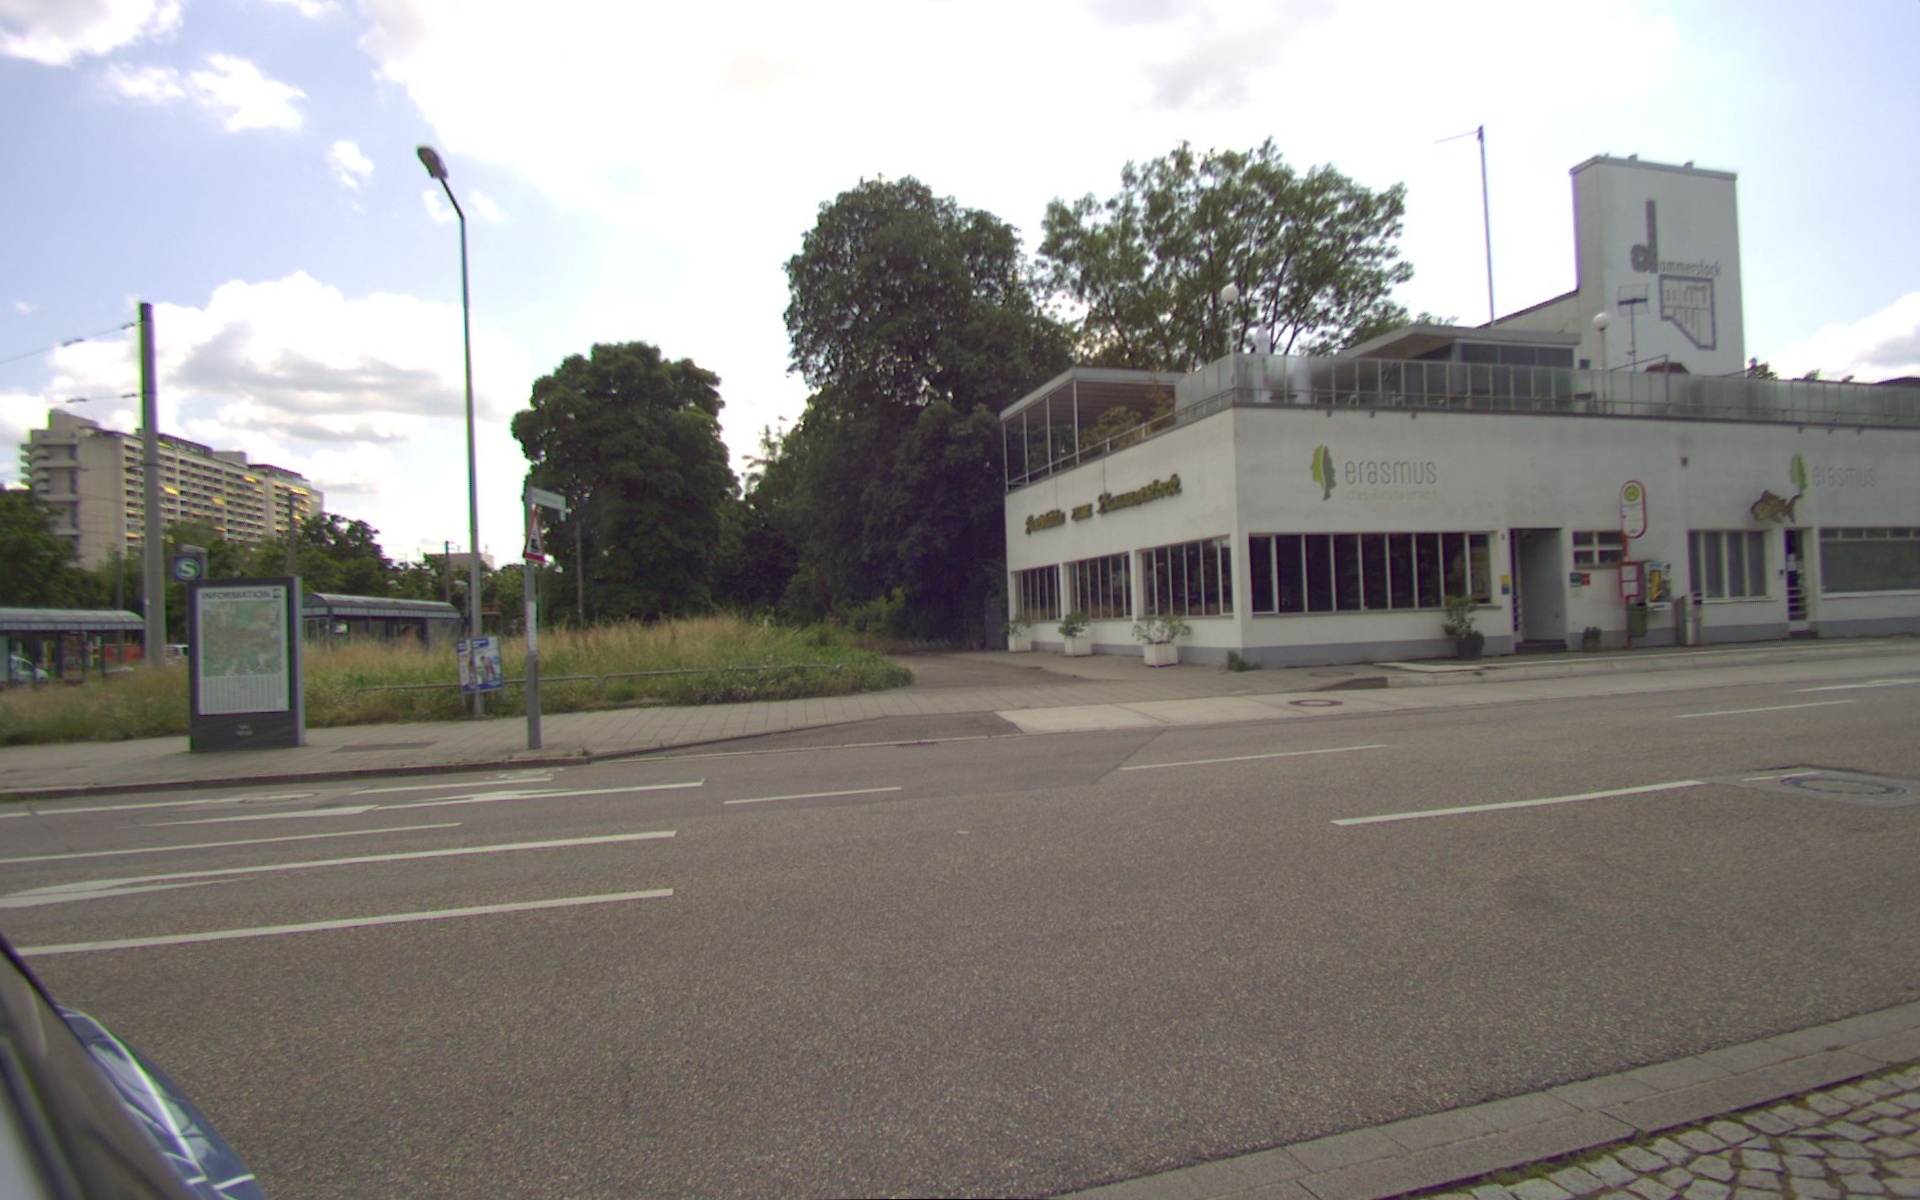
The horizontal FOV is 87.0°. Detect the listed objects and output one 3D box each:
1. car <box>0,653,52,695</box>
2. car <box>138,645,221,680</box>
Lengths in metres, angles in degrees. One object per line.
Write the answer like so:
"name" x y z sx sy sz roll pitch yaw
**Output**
"car" -43.818 3.368 46.035 1.720 1.799 4.163 -1 -1 -8
"car" -48.757 3.858 63.366 1.790 1.933 5.242 -2 -1 -9
